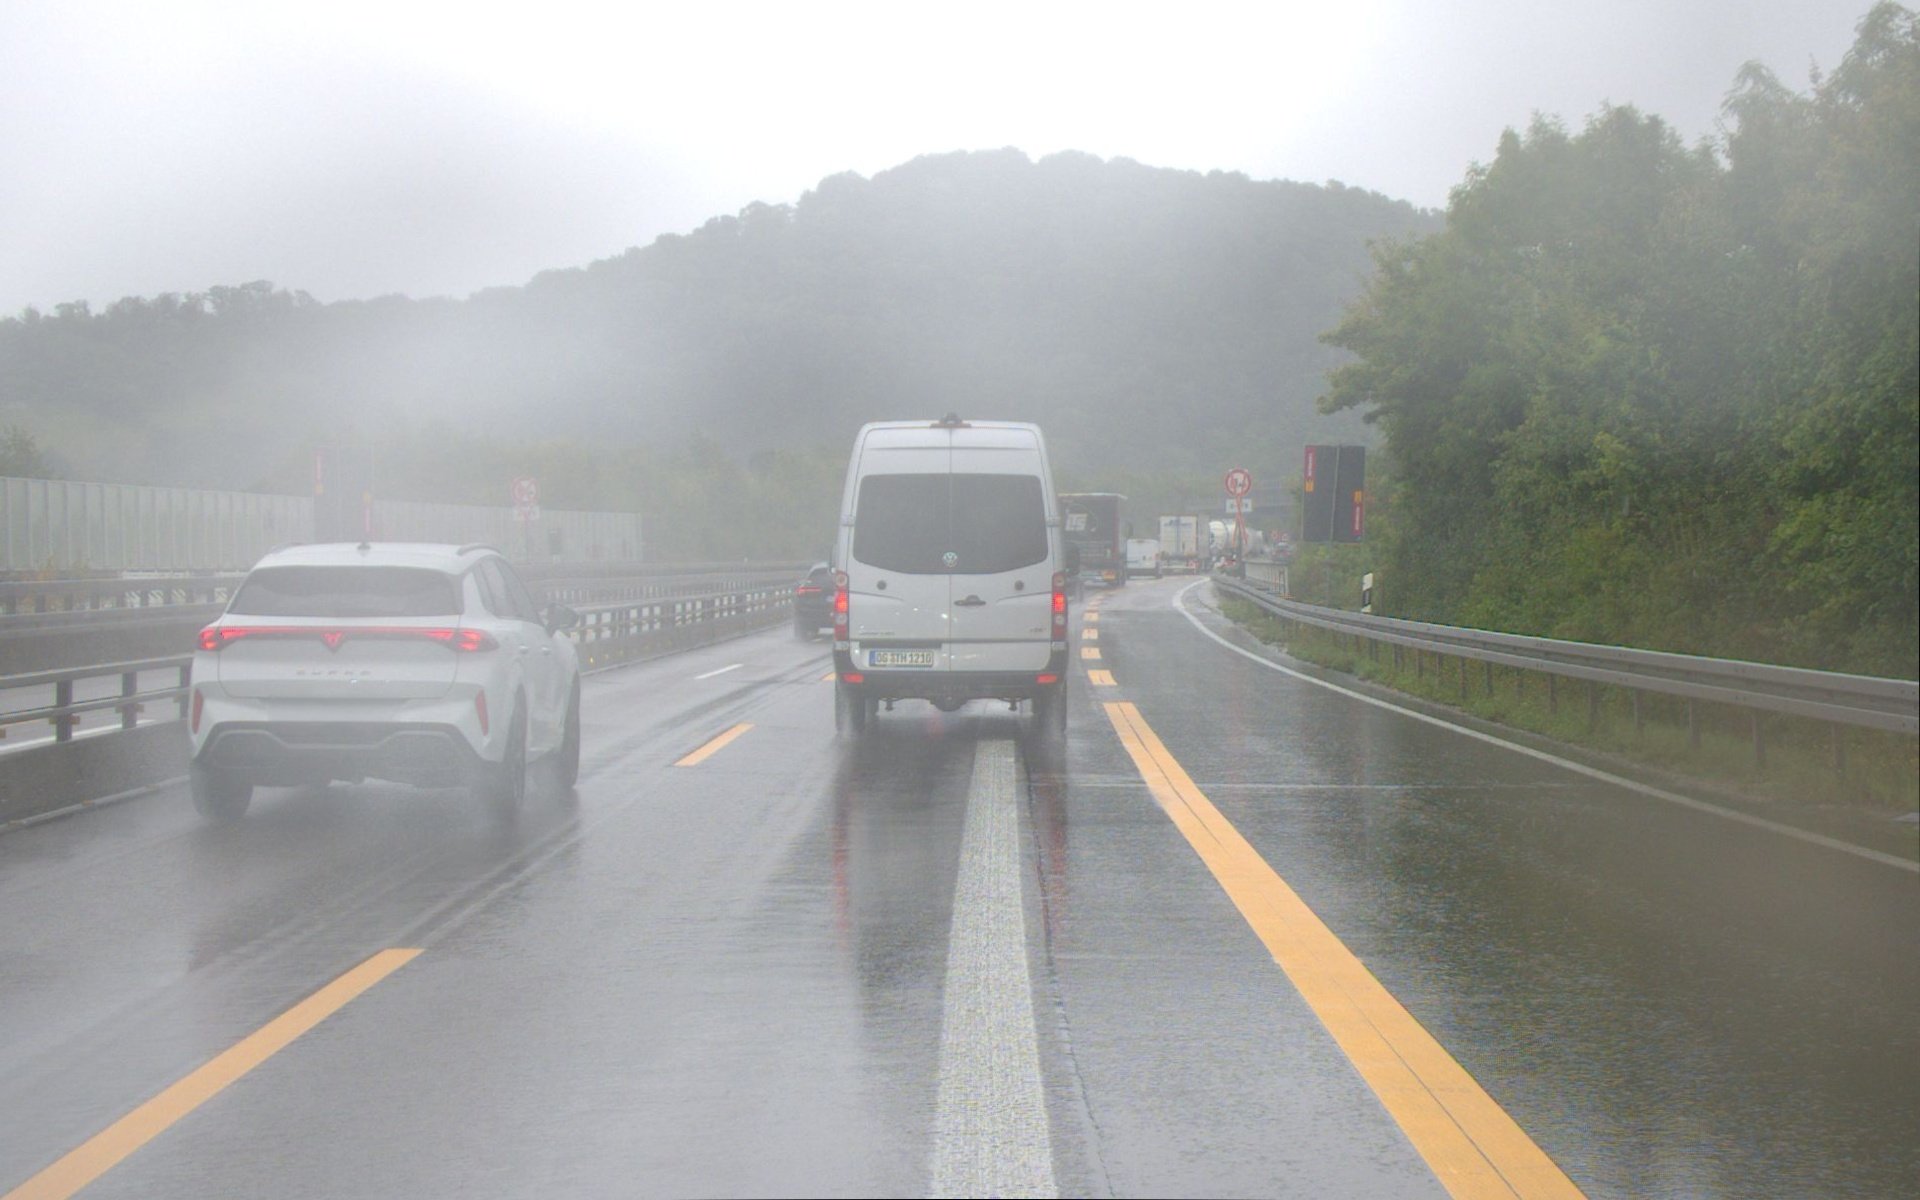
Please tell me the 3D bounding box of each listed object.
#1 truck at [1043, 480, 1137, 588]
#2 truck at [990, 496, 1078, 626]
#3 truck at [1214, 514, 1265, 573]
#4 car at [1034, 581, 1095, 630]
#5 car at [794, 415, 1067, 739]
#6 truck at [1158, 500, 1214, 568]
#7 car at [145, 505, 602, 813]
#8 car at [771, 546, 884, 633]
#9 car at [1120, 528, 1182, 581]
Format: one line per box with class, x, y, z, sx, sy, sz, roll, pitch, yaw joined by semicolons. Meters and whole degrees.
truck;5.614;-2.778;147.219;3.582;4.391;9.622;1;0;4
truck;1.933;-0.980;87.521;1.994;3.098;8.498;1;0;2
truck;21.319;-4.267;261.578;2.900;4.391;9.620;1;0;10
car;3.263;0.152;107.046;1.774;1.470;4.000;1;0;3
car;-0.249;-0.205;30.255;2.145;2.562;5.390;1;0;0
truck;15.162;-4.386;230.104;3.037;4.391;9.621;1;0;8
car;-3.386;0.296;20.783;1.993;1.612;4.797;1;0;-1
car;-2.479;-0.211;65.215;1.947;1.556;4.000;1;0;0
car;10.782;-2.528;193.733;2.899;2.877;6.409;1;0;8
